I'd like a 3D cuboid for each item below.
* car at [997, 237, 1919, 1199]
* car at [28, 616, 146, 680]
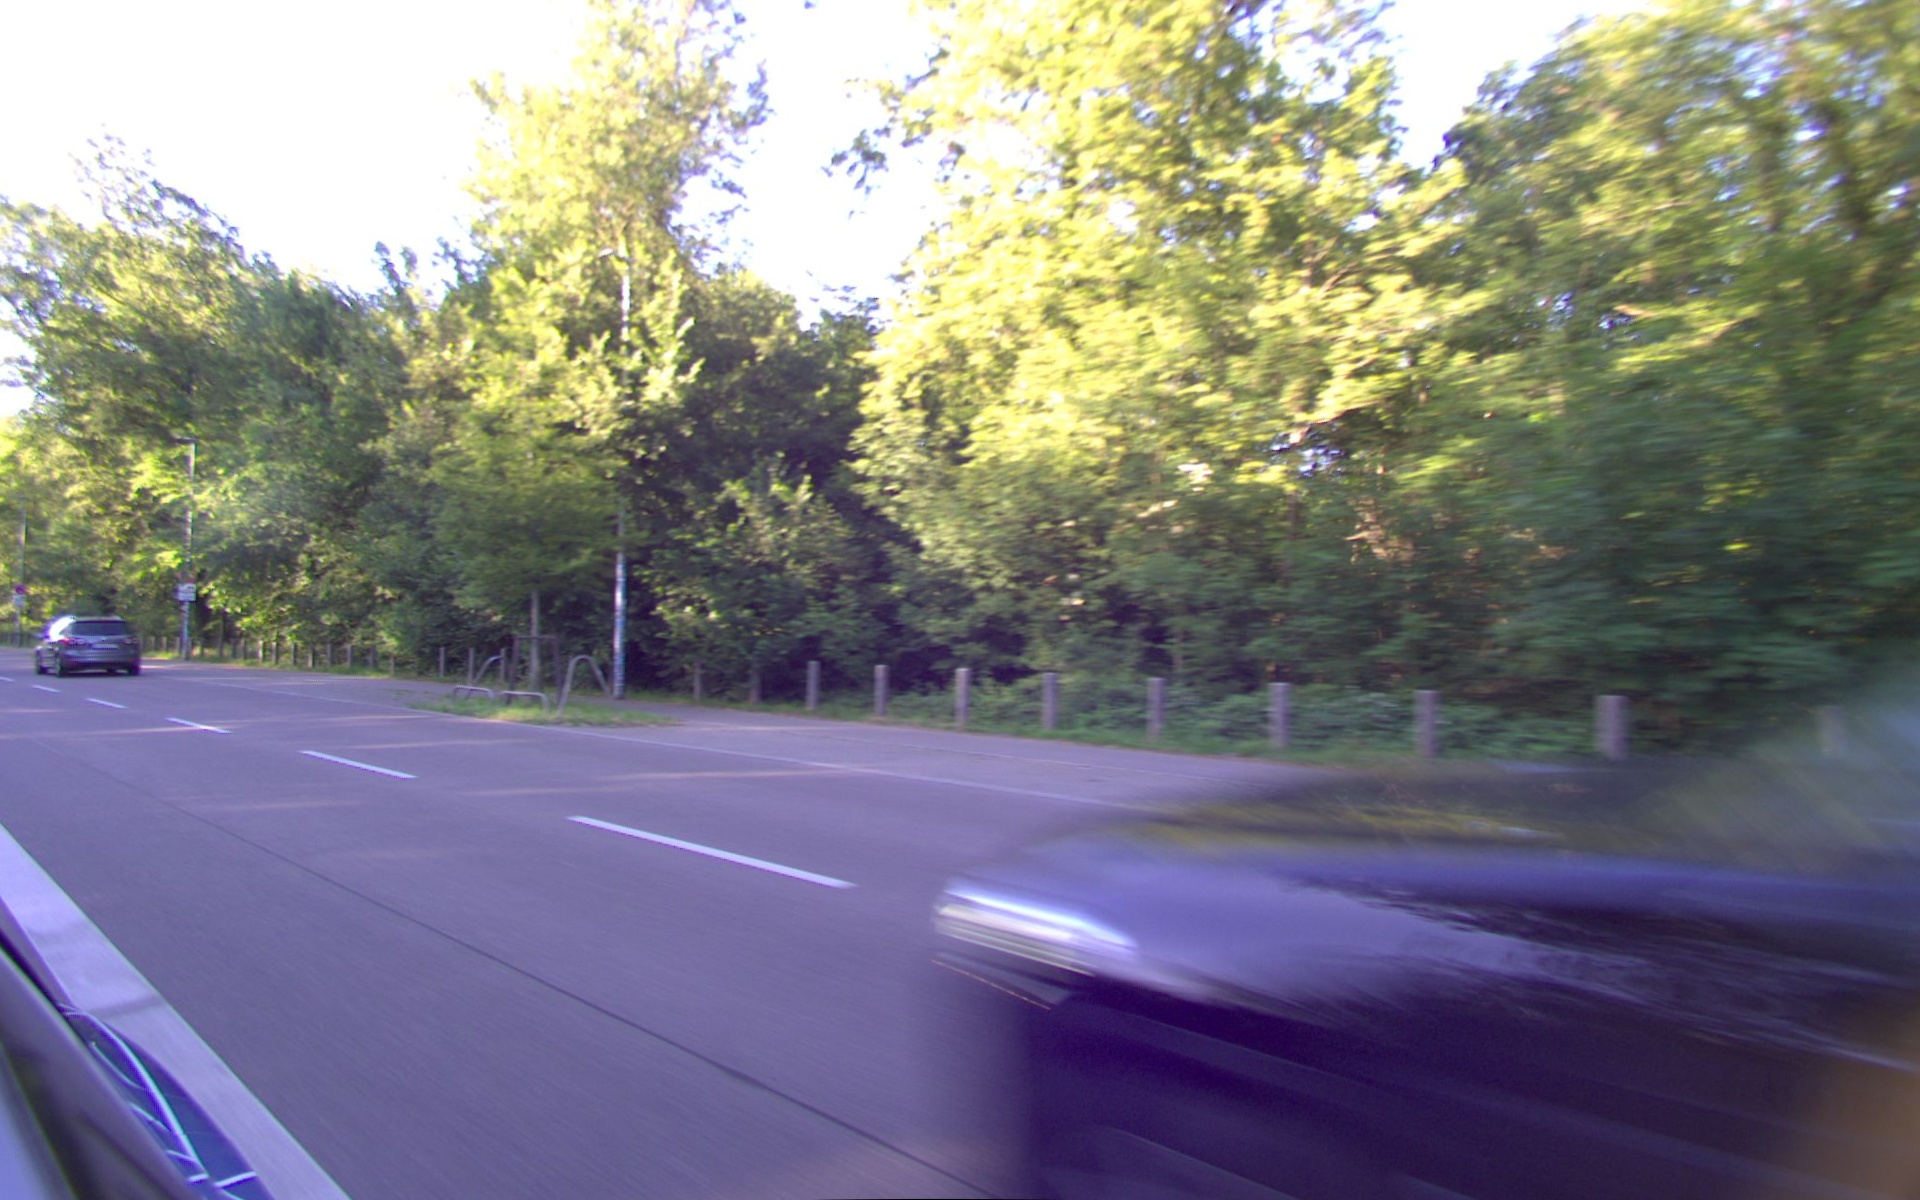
[{"bbox_3d":[2.338,0.508,0.973,4.441,1.717,1.898,-1,-2,42],"label":"car"},{"bbox_3d":[-23.752,1.258,27.504,3.996,1.612,1.782,-1,-2,40],"label":"car"}]
